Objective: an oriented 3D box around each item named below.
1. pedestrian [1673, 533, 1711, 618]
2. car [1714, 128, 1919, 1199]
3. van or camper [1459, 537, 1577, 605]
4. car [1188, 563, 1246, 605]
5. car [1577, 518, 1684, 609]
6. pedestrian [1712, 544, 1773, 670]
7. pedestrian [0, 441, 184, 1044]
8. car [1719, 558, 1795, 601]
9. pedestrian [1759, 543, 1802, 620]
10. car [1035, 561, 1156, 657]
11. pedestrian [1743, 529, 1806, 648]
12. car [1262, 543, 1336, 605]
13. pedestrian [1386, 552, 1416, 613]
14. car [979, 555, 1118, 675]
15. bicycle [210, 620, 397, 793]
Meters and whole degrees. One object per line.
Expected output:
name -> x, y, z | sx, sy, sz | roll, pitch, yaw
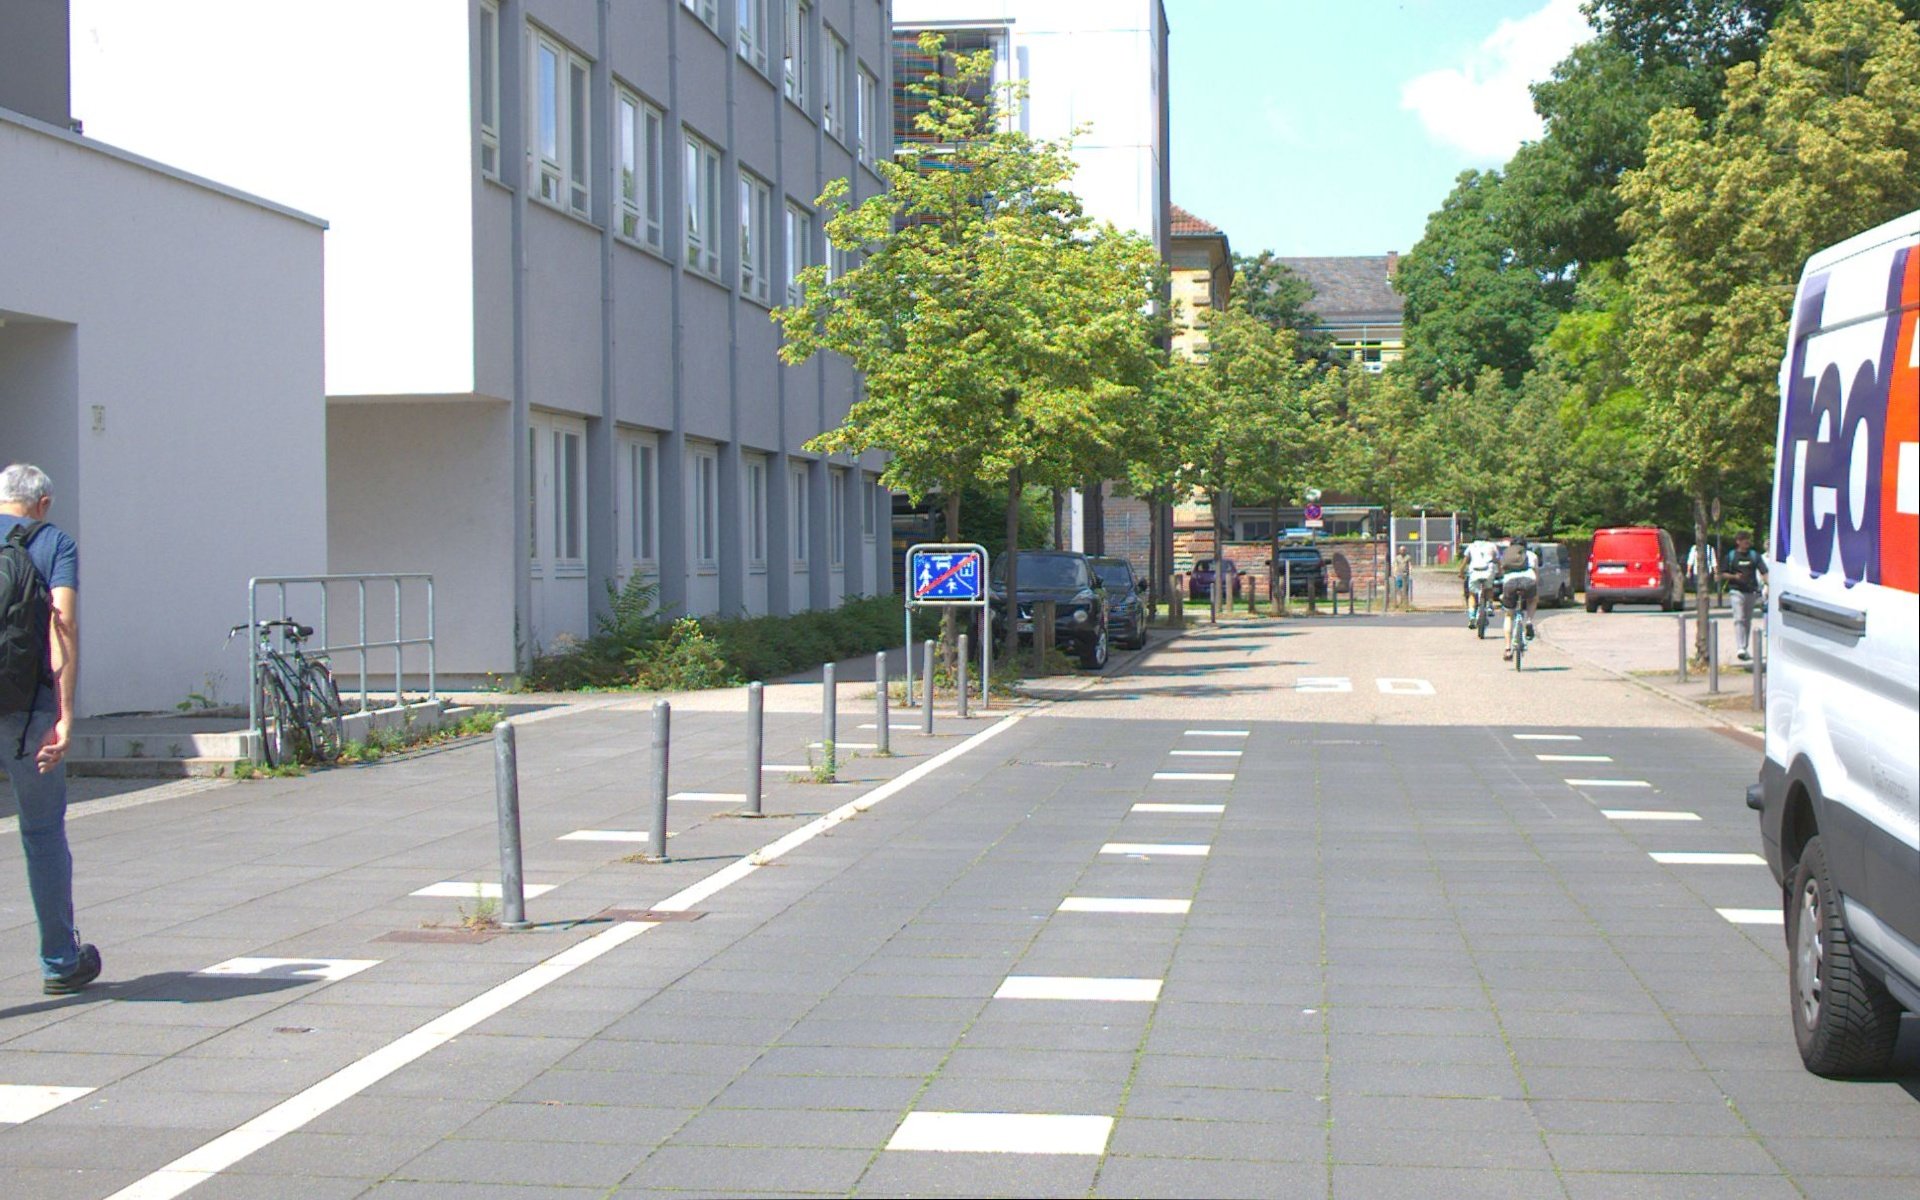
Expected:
pedestrian -> 15.399, -0.511, 72.363 | 0.695, 1.775, 0.787 | -1, 0, 8
car -> 3.261, 0.168, 8.048 | 2.059, 2.534, 5.849 | -1, 1, 4
van or camper -> 16.472, -0.865, 101.262 | 1.956, 1.916, 5.412 | 1, 1, 26
car -> 8.264, -0.531, 110.449 | 1.817, 1.319, 3.767 | 0, 0, 5
car -> 14.583, -0.787, 74.601 | 1.850, 1.885, 4.887 | -1, 0, 16
pedestrian -> 10.559, 0.090, 46.429 | 0.641, 1.691, 0.792 | 0, 1, 1
pedestrian -> -3.021, 0.424, 10.920 | 0.823, 1.811, 1.144 | 0, 1, 1
car -> 28.948, -0.741, 124.814 | 1.762, 1.516, 4.105 | 0, 0, 27
pedestrian -> 19.381, -0.442, 81.202 | 0.721, 1.815, 0.630 | -1, 0, -30
car -> 2.204, 0.113, 54.913 | 1.778, 1.456, 4.258 | 1, 1, 4
pedestrian -> 12.173, -0.170, 51.392 | 0.850, 1.758, 0.715 | -1, 0, 11
car -> 10.818, -0.843, 109.988 | 2.175, 1.919, 5.185 | 0, 0, 4
pedestrian -> 12.864, -0.508, 100.327 | 0.585, 1.758, 0.910 | 0, 0, 26
car -> 1.249, 0.169, 46.952 | 1.697, 1.558, 4.067 | 0, 1, 4
bicycle -> -4.325, 0.681, 22.779 | 0.543, 1.058, 1.898 | 0, 1, 11
